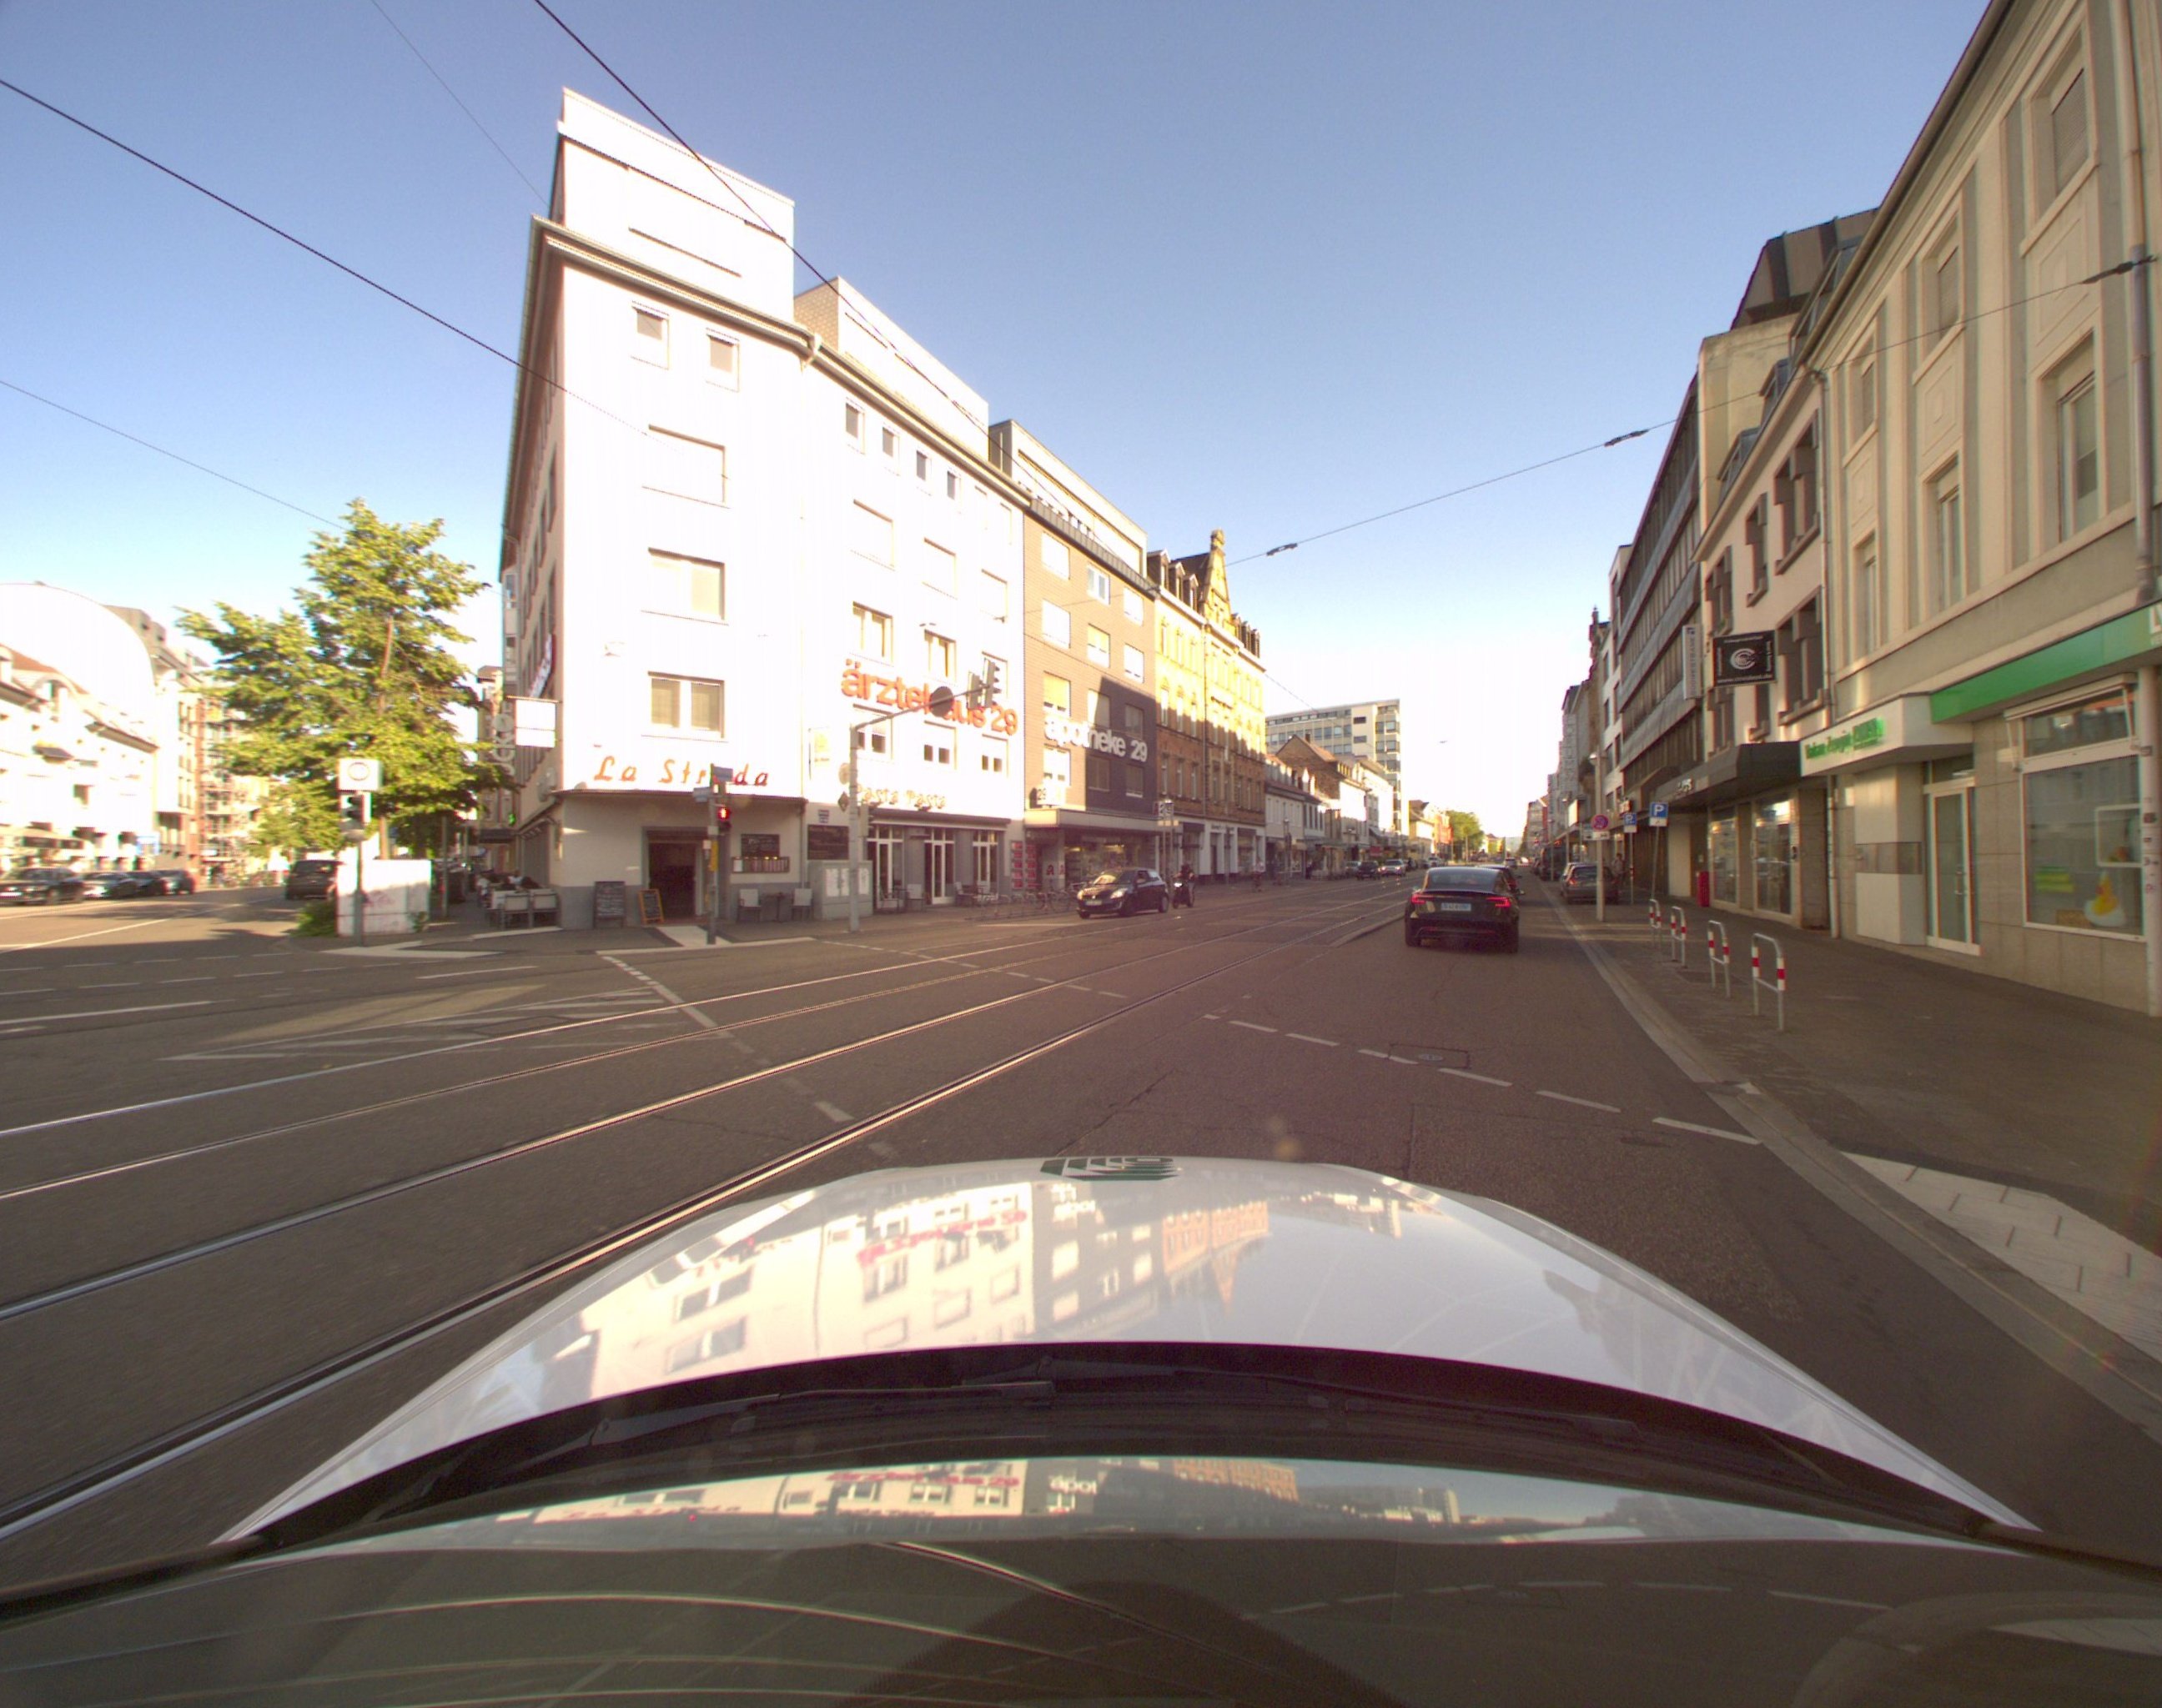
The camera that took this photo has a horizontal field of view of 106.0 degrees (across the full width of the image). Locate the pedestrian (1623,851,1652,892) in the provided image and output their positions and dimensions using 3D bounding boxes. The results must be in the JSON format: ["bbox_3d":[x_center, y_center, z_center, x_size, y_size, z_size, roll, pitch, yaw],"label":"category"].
[{"bbox_3d":[25.520,0.800,37.371,0.914,1.843,1.005,-3,-2,29],"label":"pedestrian"}]

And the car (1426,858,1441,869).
[{"bbox_3d":[64.282,1.777,148.562,1.990,1.961,4.753,-1,-1,28],"label":"car"}]

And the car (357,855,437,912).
[{"bbox_3d":[-23.877,0.972,28.557,1.919,1.852,4.240,1,-1,-37],"label":"car"}]

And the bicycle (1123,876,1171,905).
[{"bbox_3d":[2.792,1.516,34.495,1.917,1.190,0.555,-1,-1,24],"label":"bicycle"}]

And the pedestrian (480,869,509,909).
[{"bbox_3d":[-20.241,1.197,28.099,0.737,1.347,1.047,0,-1,-40],"label":"pedestrian"}]

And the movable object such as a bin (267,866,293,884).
[{"bbox_3d":[-64.751,1.700,65.855,1.056,1.408,1.321,-1,-1,36],"label":"movable object such as a bin"}]

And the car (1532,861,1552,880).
[{"bbox_3d":[47.374,1.705,83.744,1.804,1.871,3.776,0,0,29],"label":"car"}]

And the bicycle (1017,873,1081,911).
[{"bbox_3d":[-1.126,1.309,28.469,2.084,1.223,0.778,1,0,23],"label":"bicycle"}]

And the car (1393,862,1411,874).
[{"bbox_3d":[43.729,1.900,110.838,1.753,1.508,3.887,-1,-1,30],"label":"car"}]

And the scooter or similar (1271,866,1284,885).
[{"bbox_3d":[13.095,1.415,54.259,0.574,1.202,1.485,1,0,25],"label":"scooter or similar"}]

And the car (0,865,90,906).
[{"bbox_3d":[-43.827,1.284,34.083,2.009,1.598,3.956,1,-1,-36],"label":"car"}]

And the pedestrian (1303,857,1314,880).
[{"bbox_3d":[18.118,1.154,64.925,0.607,1.775,0.723,-1,-1,42],"label":"pedestrian"}]

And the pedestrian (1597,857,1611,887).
[{"bbox_3d":[30.829,1.065,47.993,0.551,1.715,0.960,-3,-2,27],"label":"pedestrian"}]

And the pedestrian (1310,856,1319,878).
[{"bbox_3d":[19.811,1.123,68.992,0.650,1.823,0.646,0,-1,23],"label":"pedestrian"}]

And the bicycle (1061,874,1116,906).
[{"bbox_3d":[0.274,1.356,30.925,1.917,1.192,0.778,-1,-1,23],"label":"bicycle"}]

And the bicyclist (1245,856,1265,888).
[{"bbox_3d":[9.313,0.964,43.649,0.743,1.729,1.153,-1,-1,29],"label":"bicyclist"}]

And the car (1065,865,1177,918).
[{"bbox_3d":[1.324,1.106,25.049,1.697,1.446,4.164,-3,-2,29],"label":"car"}]

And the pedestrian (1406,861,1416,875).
[{"bbox_3d":[42.151,1.785,103.998,0.831,1.849,0.766,0,-1,-30],"label":"pedestrian"}]

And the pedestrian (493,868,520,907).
[{"bbox_3d":[-20.698,1.205,29.330,0.736,1.360,0.948,0,-1,-38],"label":"pedestrian"}]

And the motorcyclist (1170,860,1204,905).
[{"bbox_3d":[3.812,1.016,29.156,0.795,1.558,1.153,-2,-2,29],"label":"motorcyclist"}]

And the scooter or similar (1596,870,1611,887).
[{"bbox_3d":[31.409,1.463,48.925,0.588,0.936,1.306,-3,-2,27],"label":"scooter or similar"}]

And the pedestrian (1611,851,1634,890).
[{"bbox_3d":[24.224,0.734,36.462,0.772,1.752,1.038,-1,-1,29],"label":"pedestrian"}]

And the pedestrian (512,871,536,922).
[{"bbox_3d":[-14.694,1.113,21.492,0.491,1.322,0.647,0,-1,-30],"label":"pedestrian"}]

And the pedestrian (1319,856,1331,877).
[{"bbox_3d":[20.765,1.043,69.304,0.877,1.775,0.692,-1,-1,27],"label":"pedestrian"}]

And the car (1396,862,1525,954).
[{"bbox_3d":[7.268,0.891,15.347,1.852,1.427,4.391,0,0,30],"label":"car"}]

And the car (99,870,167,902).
[{"bbox_3d":[-51.410,1.715,44.224,1.732,1.610,3.556,0,-1,-38],"label":"car"}]

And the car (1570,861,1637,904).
[{"bbox_3d":[19.102,1.007,29.914,1.830,1.462,4.329,-2,-1,30],"label":"car"}]

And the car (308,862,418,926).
[{"bbox_3d":[-20.345,1.061,23.252,2.017,1.636,4.240,1,-1,-37],"label":"car"}]

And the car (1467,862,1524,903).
[{"bbox_3d":[15.320,1.018,30.057,1.745,1.419,4.380,-1,-1,28],"label":"car"}]

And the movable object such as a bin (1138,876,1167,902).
[{"bbox_3d":[3.150,1.541,35.804,1.089,1.063,0.703,1,0,29],"label":"movable object such as a bin"}]

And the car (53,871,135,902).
[{"bbox_3d":[-48.435,1.573,40.053,1.801,1.402,3.861,1,-1,-39],"label":"car"}]

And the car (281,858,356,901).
[{"bbox_3d":[-33.031,1.067,35.389,1.919,1.733,4.240,1,-1,-37],"label":"car"}]

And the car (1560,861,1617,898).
[{"bbox_3d":[21.469,1.052,34.579,1.728,1.462,4.322,-1,-1,28],"label":"car"}]

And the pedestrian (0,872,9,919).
[{"bbox_3d":[-46.632,1.789,34.745,1.075,2.013,0.961,-1,2,39],"label":"pedestrian"}]

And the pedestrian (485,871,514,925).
[{"bbox_3d":[-14.668,1.104,20.539,0.591,1.313,0.554,0,-1,-38],"label":"pedestrian"}]

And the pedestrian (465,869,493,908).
[{"bbox_3d":[-21.228,1.206,28.723,0.715,1.347,1.047,0,-1,-41],"label":"pedestrian"}]

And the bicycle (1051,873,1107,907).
[{"bbox_3d":[-0.077,1.322,30.208,1.917,1.172,0.778,1,0,23],"label":"bicycle"}]

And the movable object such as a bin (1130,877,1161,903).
[{"bbox_3d":[2.790,1.534,35.168,1.089,1.072,0.739,1,0,29],"label":"movable object such as a bin"}]

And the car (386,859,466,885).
[{"bbox_3d":[-57.534,1.518,71.644,5.435,2.145,1.977,0,-1,-39],"label":"car"}]

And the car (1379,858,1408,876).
[{"bbox_3d":[28.867,1.190,75.147,1.872,1.594,4.288,-2,-2,29],"label":"car"}]

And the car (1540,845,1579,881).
[{"bbox_3d":[35.166,0.671,59.968,2.151,2.461,5.394,-3,-1,28],"label":"car"}]

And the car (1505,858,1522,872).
[{"bbox_3d":[62.341,1.557,117.454,2.065,1.871,3.776,0,0,29],"label":"car"}]

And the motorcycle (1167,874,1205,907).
[{"bbox_3d":[3.779,1.306,29.211,0.564,1.120,2.130,-2,-2,29],"label":"motorcycle"}]

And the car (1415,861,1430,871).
[{"bbox_3d":[55.164,1.966,131.398,1.701,1.572,3.873,-1,-1,30],"label":"car"}]

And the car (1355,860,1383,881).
[{"bbox_3d":[22.952,1.304,64.925,1.633,1.566,2.846,-1,-1,29],"label":"car"}]

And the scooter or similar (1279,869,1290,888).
[{"bbox_3d":[13.517,1.613,54.033,0.360,1.202,1.485,1,0,25],"label":"scooter or similar"}]

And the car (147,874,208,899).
[{"bbox_3d":[-53.727,1.906,48.492,1.801,1.402,3.861,1,-1,-39],"label":"car"}]

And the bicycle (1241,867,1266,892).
[{"bbox_3d":[9.283,1.350,43.718,0.743,1.293,2.038,-2,-2,28],"label":"bicycle"}]
